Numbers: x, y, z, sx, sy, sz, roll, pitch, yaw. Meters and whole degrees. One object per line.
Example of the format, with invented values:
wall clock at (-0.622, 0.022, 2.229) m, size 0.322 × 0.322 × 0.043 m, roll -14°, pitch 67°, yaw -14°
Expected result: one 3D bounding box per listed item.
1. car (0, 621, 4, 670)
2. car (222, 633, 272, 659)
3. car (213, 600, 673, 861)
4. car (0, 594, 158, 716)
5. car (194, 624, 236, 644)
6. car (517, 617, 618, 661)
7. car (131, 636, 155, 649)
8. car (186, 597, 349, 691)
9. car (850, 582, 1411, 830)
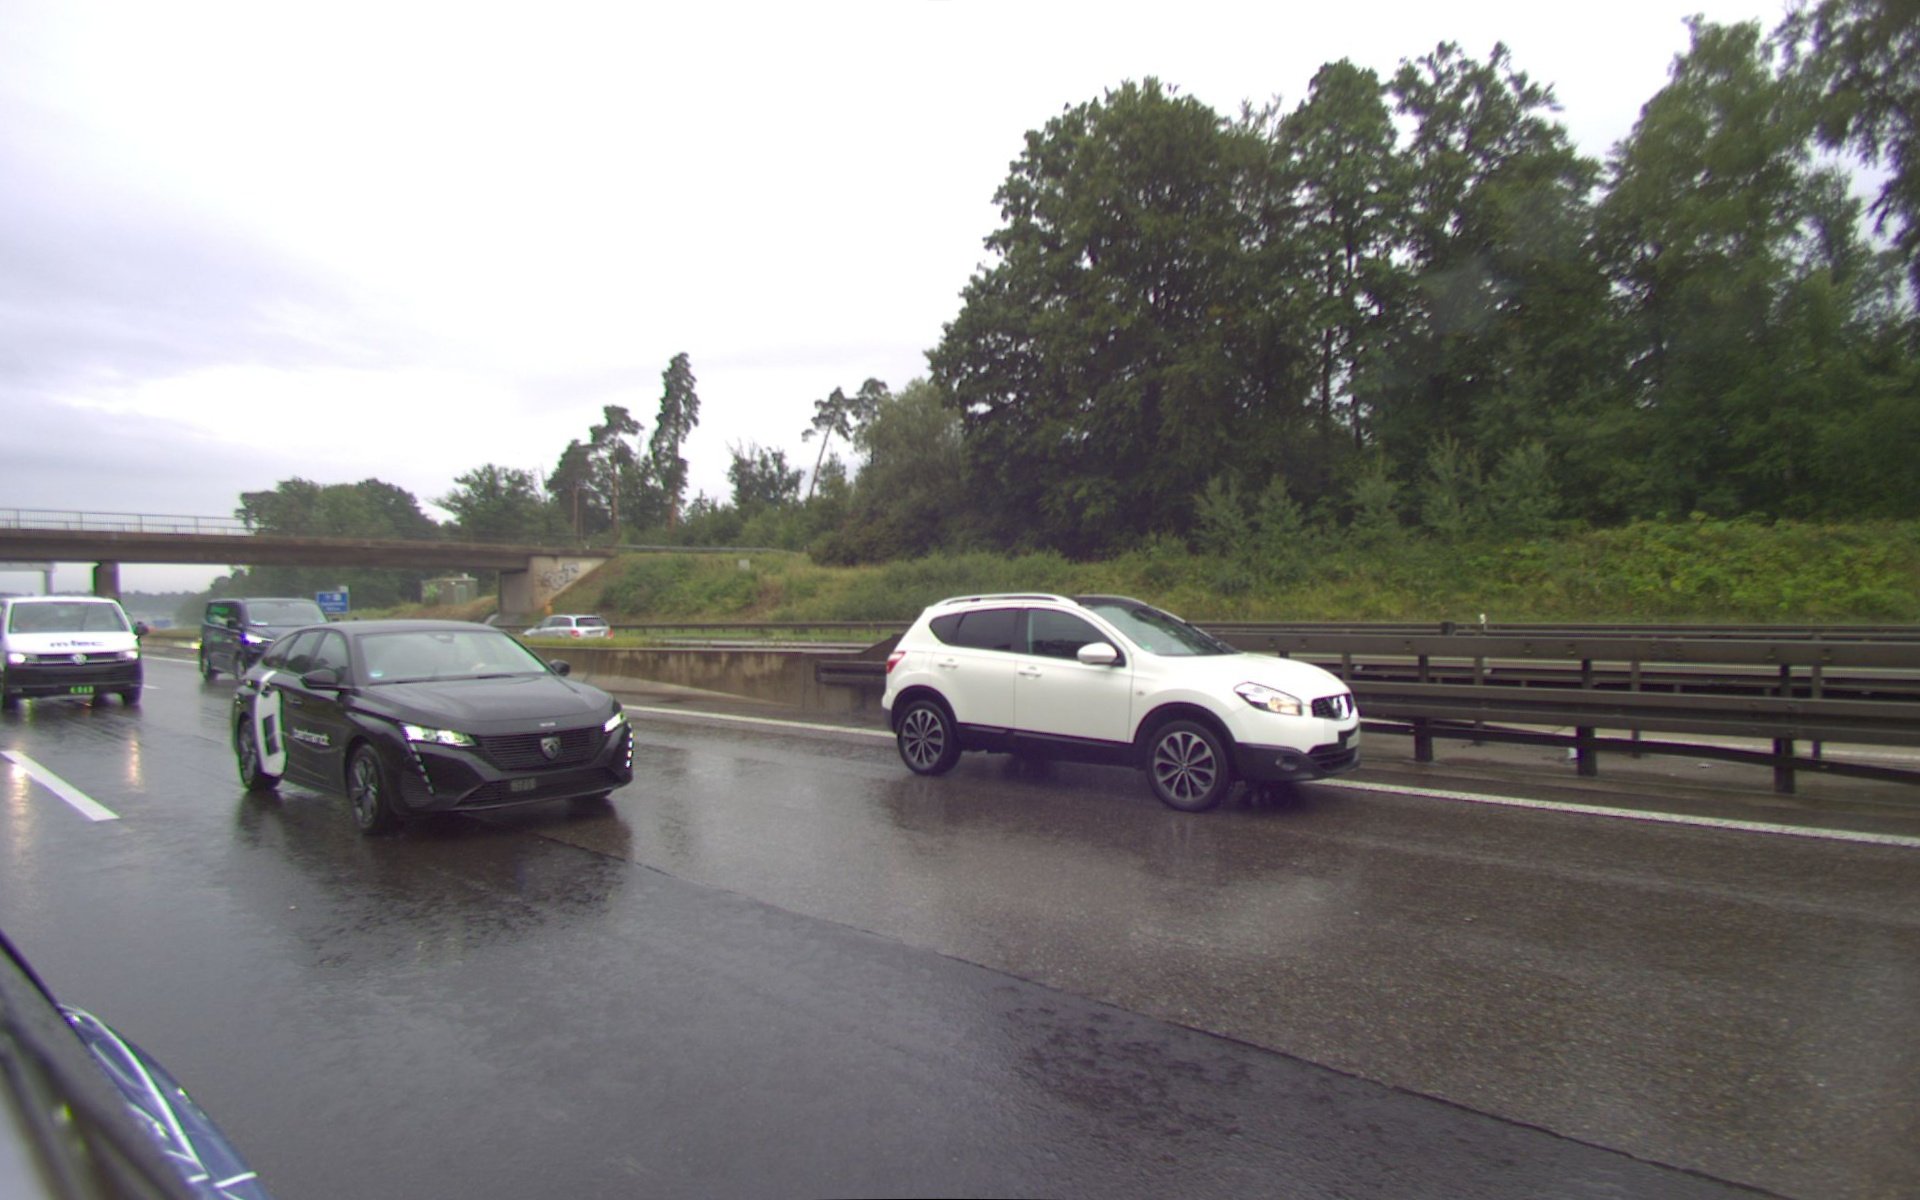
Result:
car at (-31.624, 1.425, 31.899) m, size 4.465 × 1.516 × 1.826 m, roll -1°, pitch -1°, yaw 42°
car at (-49.601, 3.184, 70.380) m, size 4.465 × 1.603 × 1.909 m, roll -2°, pitch 1°, yaw 42°
car at (-4.337, 0.812, 8.123) m, size 4.465 × 1.516 × 1.826 m, roll -2°, pitch -1°, yaw 42°
car at (-16.142, 0.906, 18.193) m, size 4.766 × 1.894 × 1.968 m, roll -2°, pitch -1°, yaw 42°
car at (-55.759, 2.543, 75.728) m, size 3.949 × 1.401 × 1.699 m, roll -2°, pitch -1°, yaw 40°
car at (-14.845, 1.451, 38.132) m, size 4.610 × 1.509 × 1.815 m, roll -2°, pitch -1°, yaw 45°
car at (-106.509, 5.500, 131.916) m, size 3.943 × 1.603 × 1.826 m, roll -2°, pitch -1°, yaw 42°
car at (-16.460, 0.962, 23.940) m, size 5.240 × 1.958 × 1.970 m, roll -1°, pitch 0°, yaw 41°
car at (1.249, 0.725, 8.715) m, size 4.464 × 1.603 × 1.826 m, roll -2°, pitch -1°, yaw 41°
